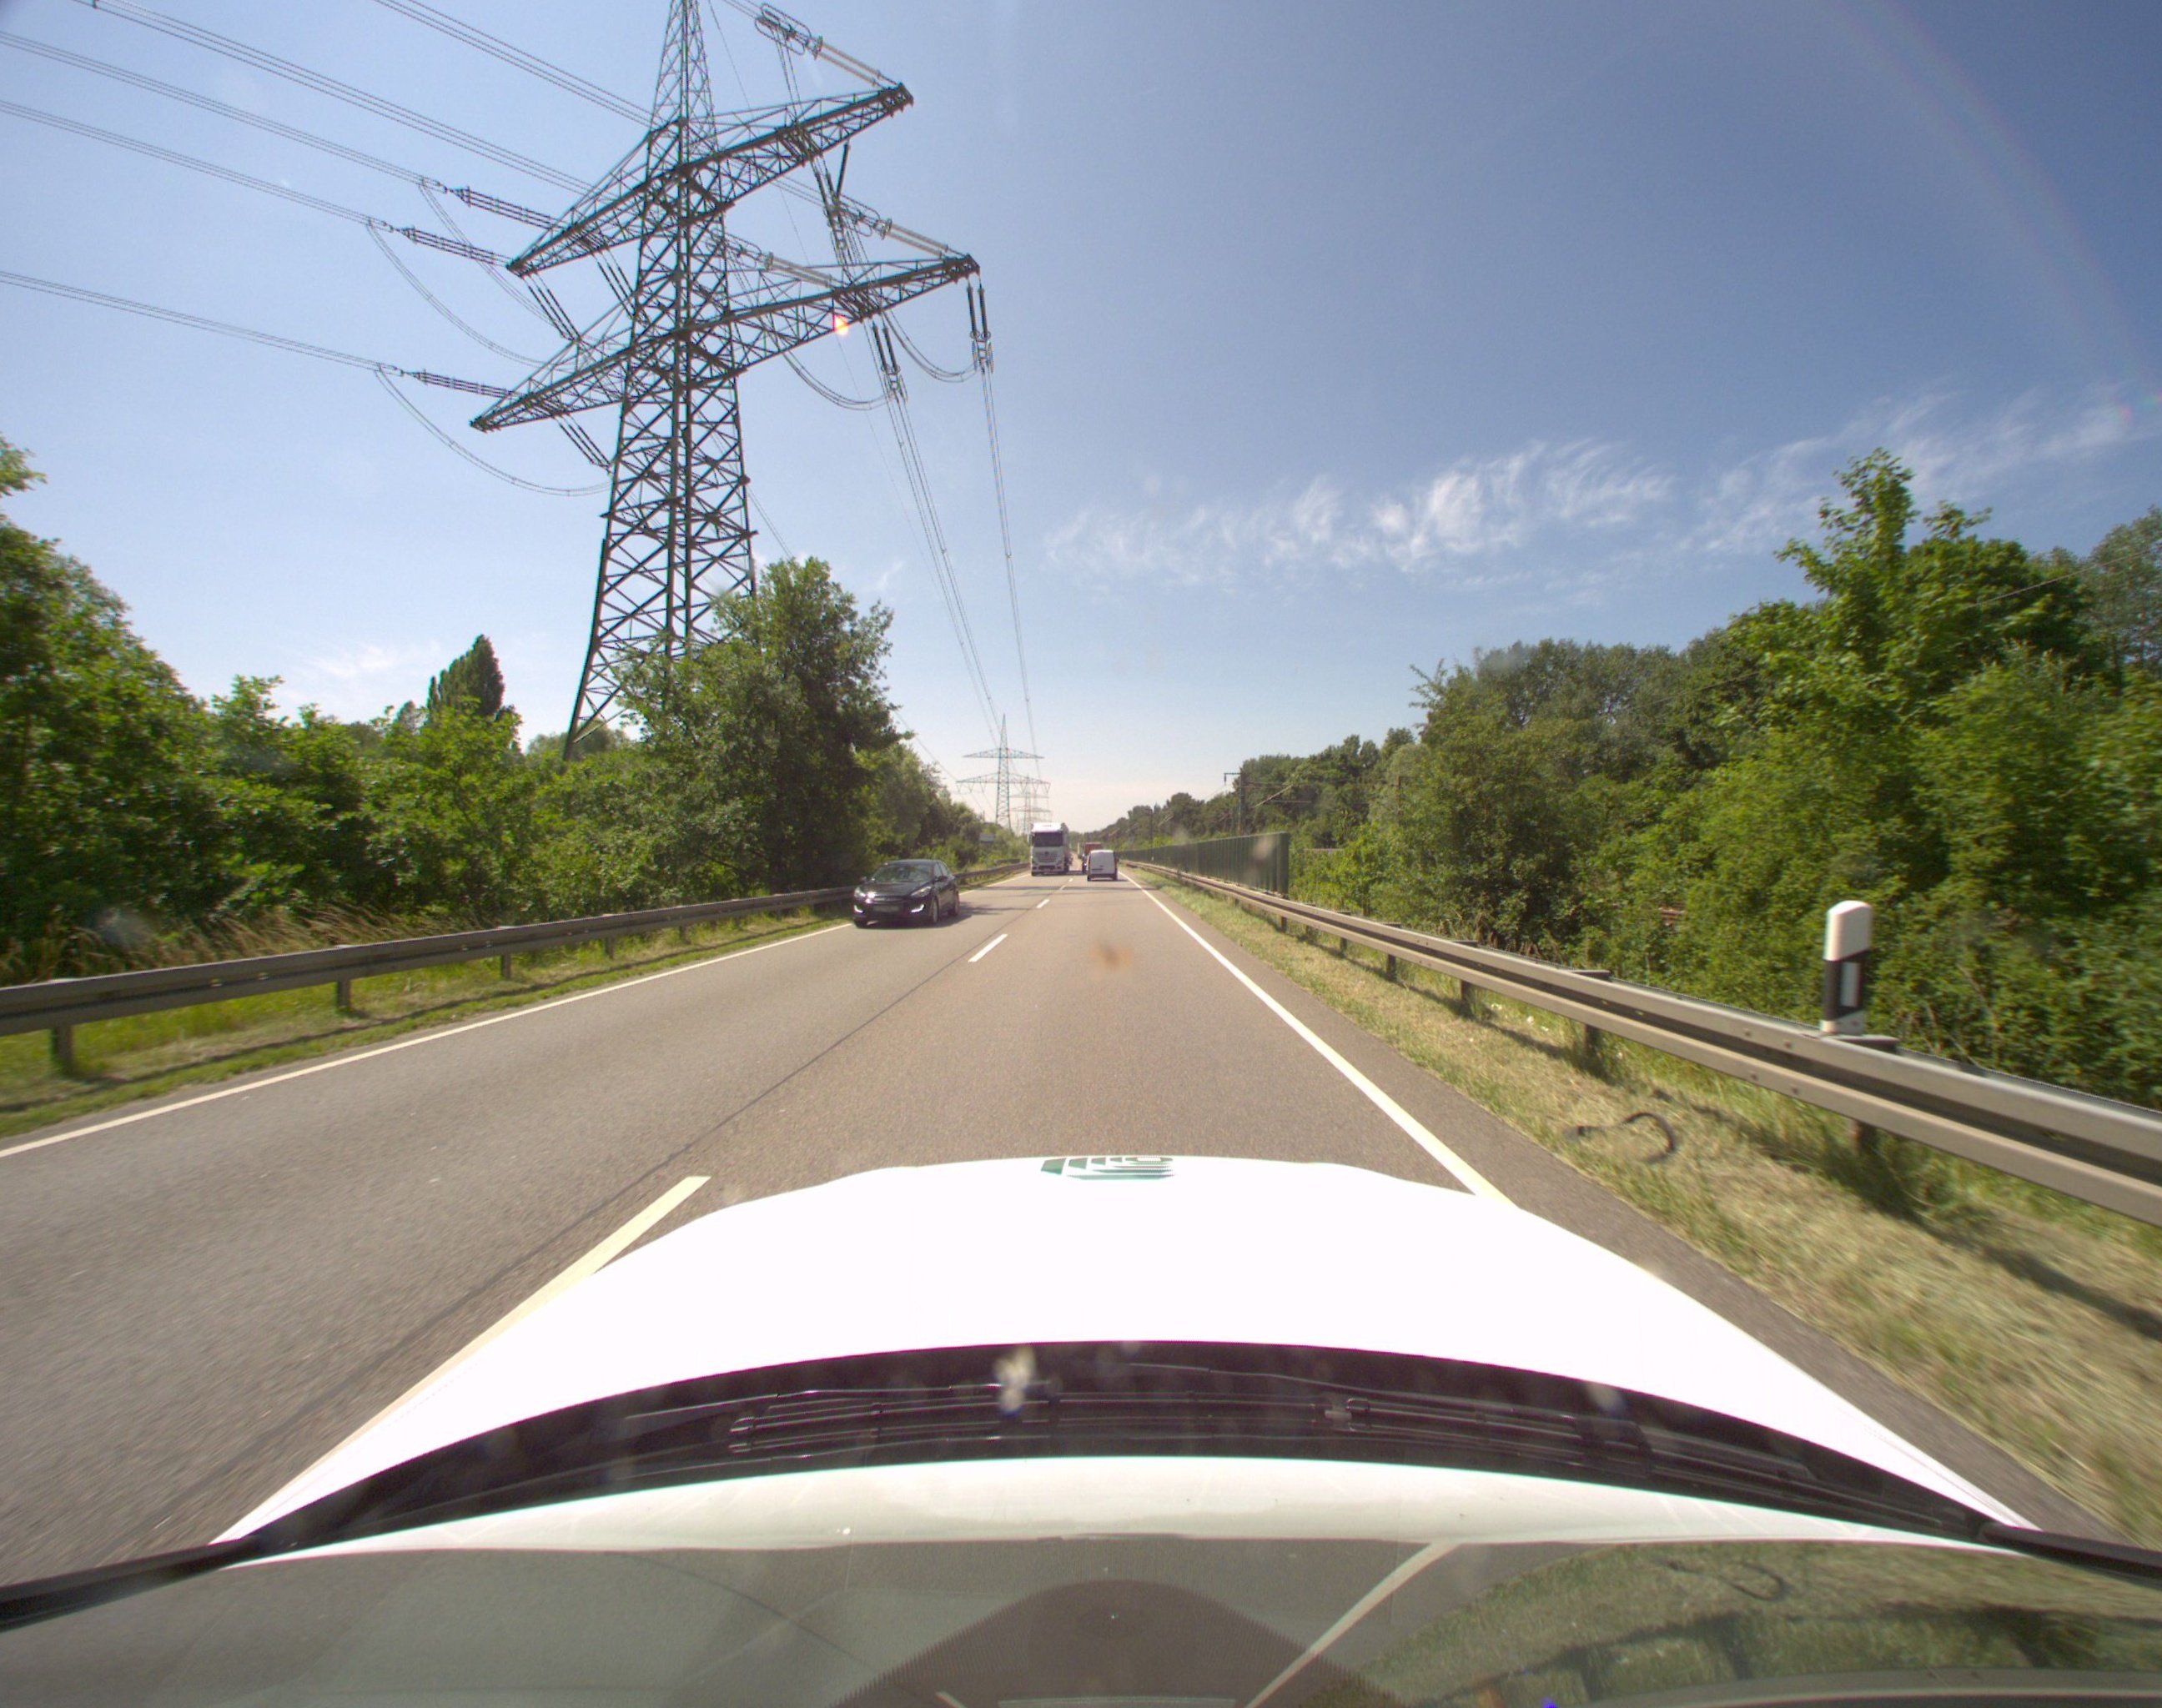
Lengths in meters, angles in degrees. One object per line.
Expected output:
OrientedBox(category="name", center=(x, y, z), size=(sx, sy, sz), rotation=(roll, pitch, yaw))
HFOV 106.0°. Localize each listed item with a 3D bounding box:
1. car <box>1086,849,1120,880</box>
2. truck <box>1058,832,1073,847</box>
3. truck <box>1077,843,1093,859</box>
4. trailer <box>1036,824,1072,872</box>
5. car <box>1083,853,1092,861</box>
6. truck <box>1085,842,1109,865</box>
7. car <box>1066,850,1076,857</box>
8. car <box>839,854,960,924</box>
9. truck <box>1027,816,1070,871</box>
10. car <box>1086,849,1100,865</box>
OrientedBox(category="car", center=(1.258, 0.584, 47.944), size=(1.869, 1.741, 3.999), rotation=(1, 0, -1))
OrientedBox(category="truck", center=(-4.081, -3.901, 218.621), size=(3.391, 3.854, 16.818), rotation=(2, 1, 0))
OrientedBox(category="truck", center=(0.920, -0.850, 205.316), size=(3.392, 3.854, 16.813), rotation=(2, 1, -1))
OrientedBox(category="trailer", center=(-2.323, -0.554, 74.320), size=(2.709, 4.042, 9.076), rotation=(-1, 0, 1))
OrientedBox(category="car", center=(1.373, 0.618, 172.781), size=(1.987, 1.526, 4.000), rotation=(-1, 0, 1))
OrientedBox(category="truck", center=(2.277, -0.187, 123.182), size=(3.286, 3.171, 14.405), rotation=(2, 1, 0))
OrientedBox(category="car", center=(-2.102, -0.091, 173.276), size=(1.987, 1.526, 4.000), rotation=(-1, 0, 1))
OrientedBox(category="car", center=(-4.126, 0.729, 19.171), size=(1.794, 1.454, 4.002), rotation=(-1, 0, 2))
OrientedBox(category="truck", center=(-2.487, -0.788, 64.913), size=(2.733, 4.042, 9.666), rotation=(-1, 0, 1))
OrientedBox(category="car", center=(1.609, 0.381, 111.602), size=(1.758, 2.013, 4.000), rotation=(2, 0, 0))
